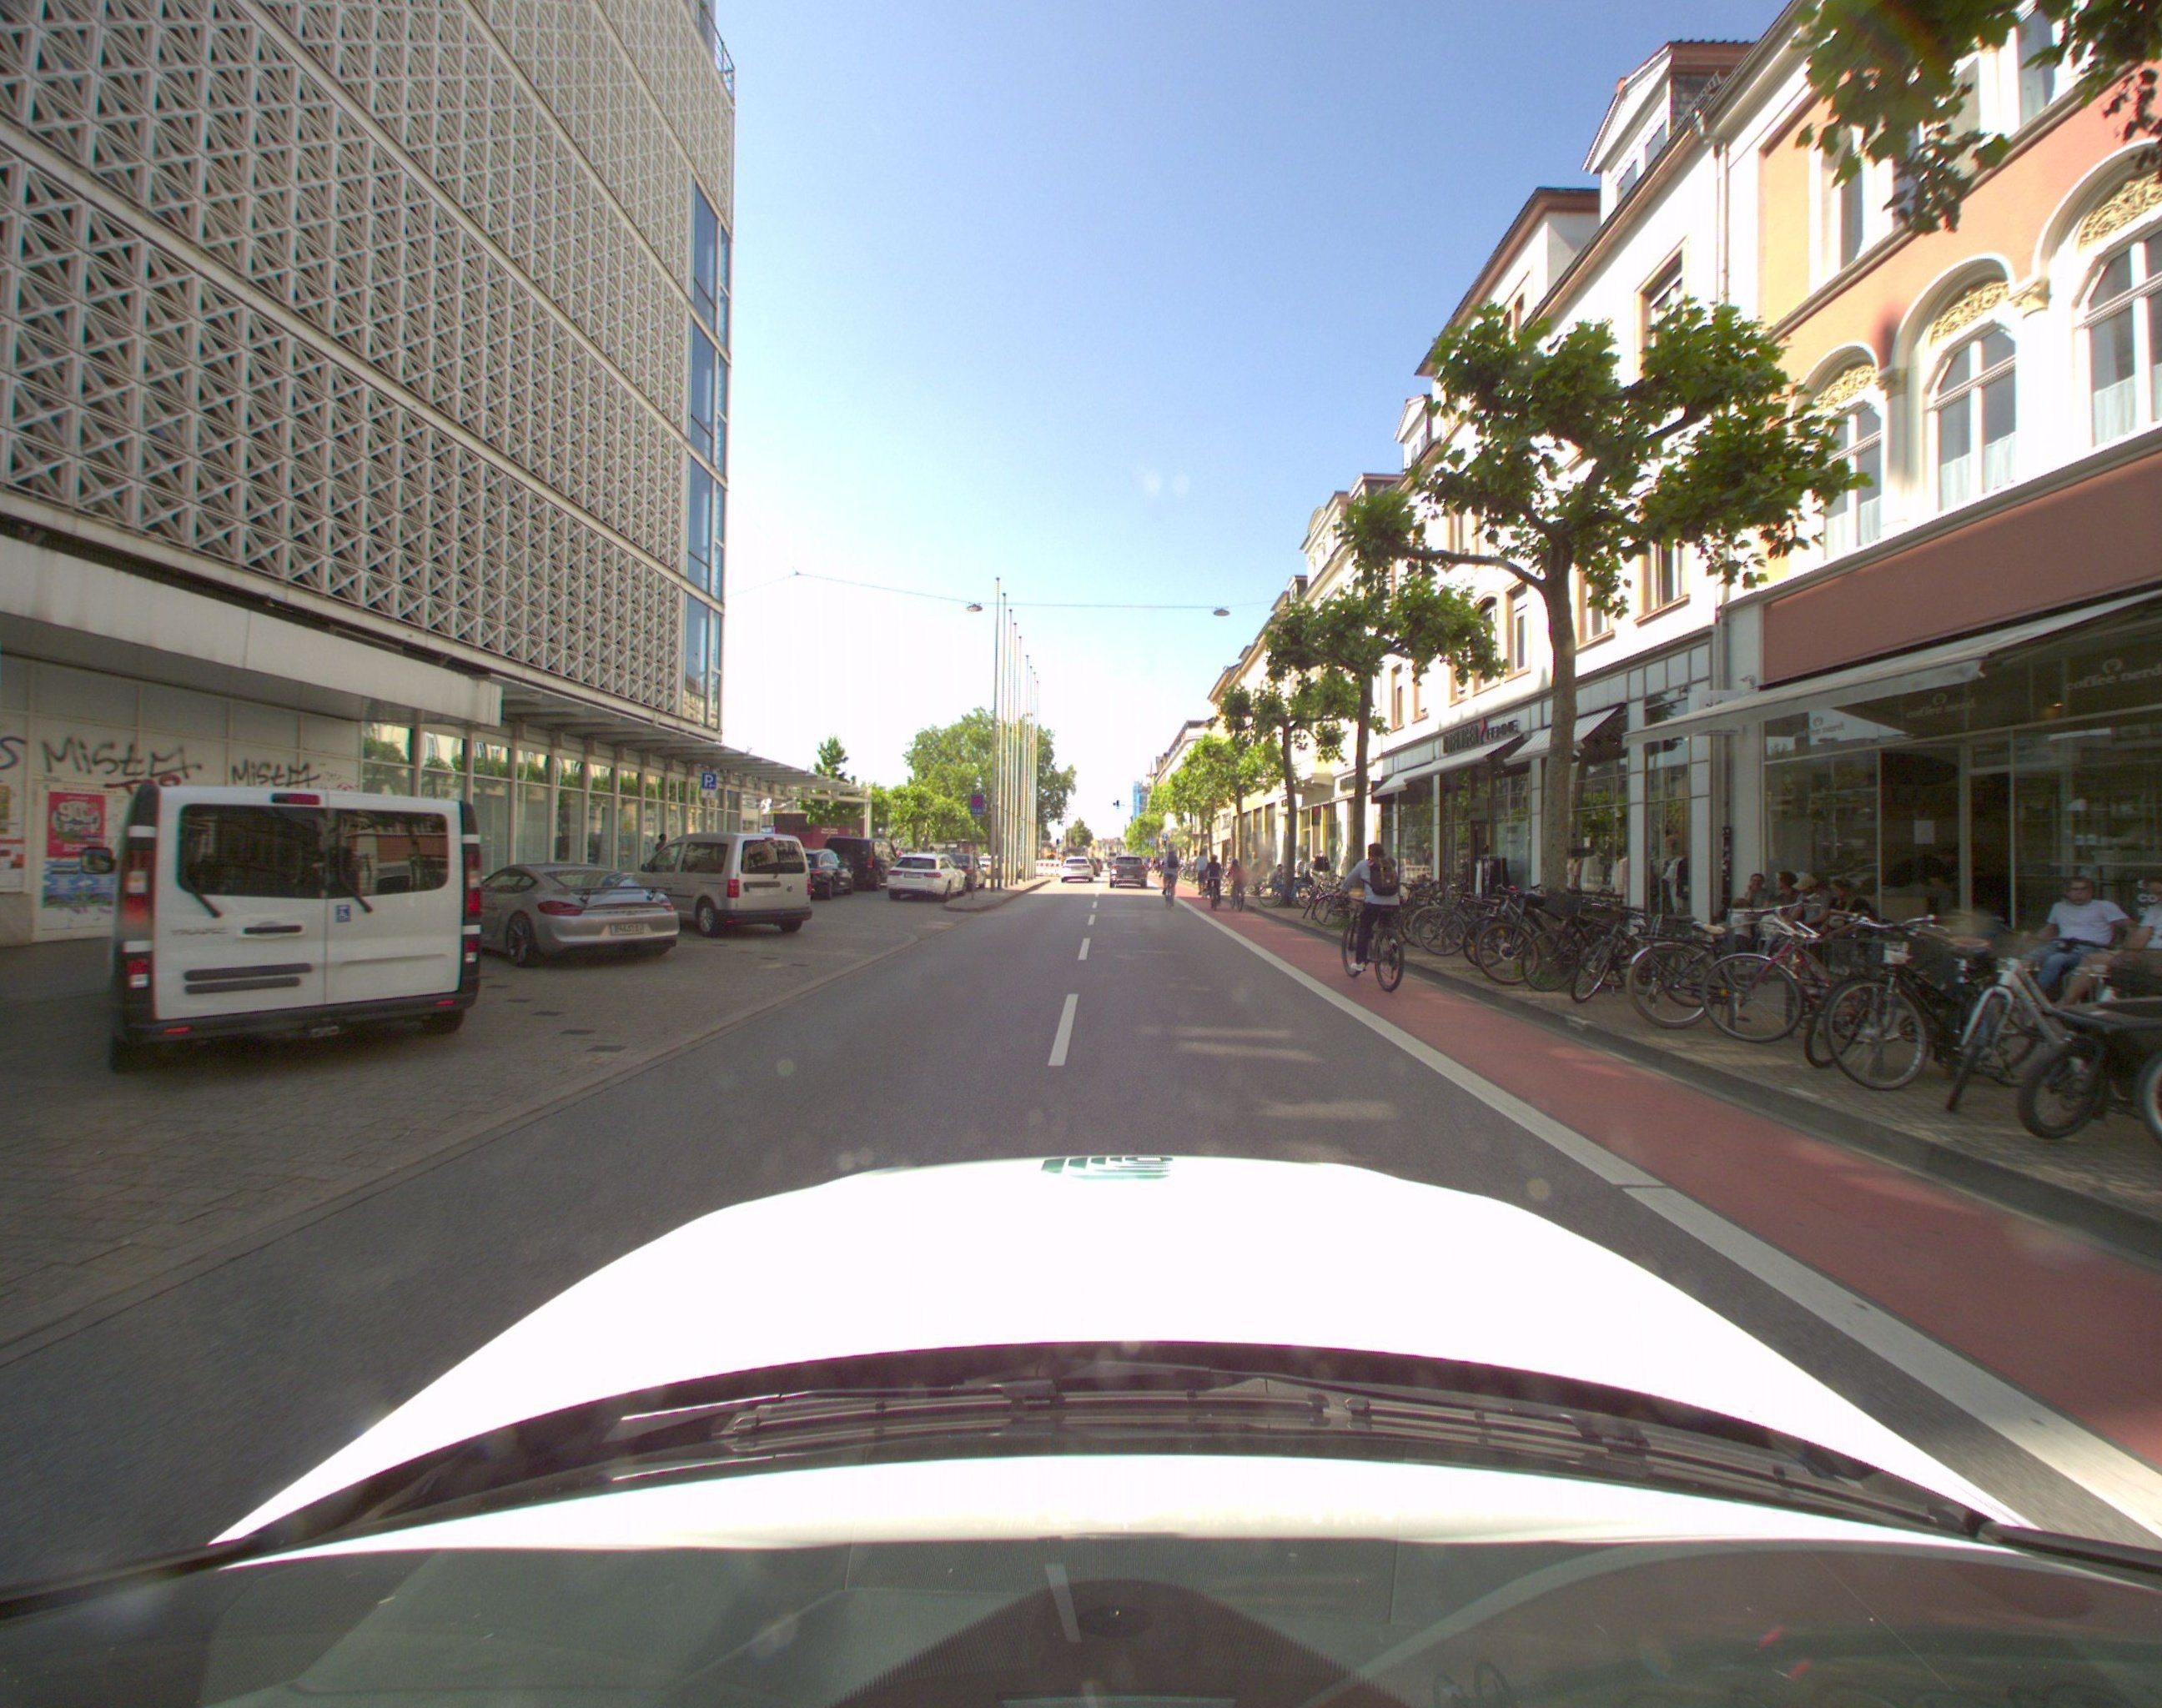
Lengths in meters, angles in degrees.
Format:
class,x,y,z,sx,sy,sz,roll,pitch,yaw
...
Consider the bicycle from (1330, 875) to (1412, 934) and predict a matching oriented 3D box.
class,x,y,z,sx,sy,sz,roll,pitch,yaw
bicycle,5.858,0.996,16.423,1.853,1.127,0.587,1,-2,-35

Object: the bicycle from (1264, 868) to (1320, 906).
class,x,y,z,sx,sy,sz,roll,pitch,yaw
bicycle,6.770,1.057,26.097,1.784,1.197,0.573,2,-1,-26

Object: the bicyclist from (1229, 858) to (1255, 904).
class,x,y,z,sx,sy,sz,roll,pitch,yaw
bicyclist,4.760,0.799,24.128,0.598,1.358,0.720,1,-2,-2

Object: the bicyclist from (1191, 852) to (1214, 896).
class,x,y,z,sx,sy,sz,roll,pitch,yaw
bicyclist,4.562,0.746,30.661,0.771,1.635,0.851,0,0,2

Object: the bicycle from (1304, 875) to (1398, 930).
class,x,y,z,sx,sy,sz,roll,pitch,yaw
bicycle,5.877,1.047,17.778,1.833,1.093,0.565,2,-1,1

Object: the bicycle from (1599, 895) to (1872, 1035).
class,x,y,z,sx,sy,sz,roll,pitch,yaw
bicycle,5.675,0.942,7.144,1.832,1.127,0.644,0,-1,3

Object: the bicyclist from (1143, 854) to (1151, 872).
class,x,y,z,sx,sy,sz,roll,pitch,yaw
bicyclist,5.661,0.762,70.101,0.645,1.551,0.818,1,-1,1

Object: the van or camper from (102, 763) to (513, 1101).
class,x,y,z,sx,sy,sz,roll,pitch,yaw
van or camper,-6.869,0.412,7.112,4.602,2.013,2.012,2,0,41

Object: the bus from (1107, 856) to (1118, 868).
class,x,y,z,sx,sy,sz,roll,pitch,yaw
bus,9.321,2.500,244.683,2.984,3.594,11.746,1,-1,1

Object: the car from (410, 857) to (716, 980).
class,x,y,z,sx,sy,sz,roll,pitch,yaw
car,-7.359,0.777,11.473,4.244,1.286,1.983,2,0,33

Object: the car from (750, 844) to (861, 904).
class,x,y,z,sx,sy,sz,roll,pitch,yaw
car,-8.192,0.578,24.706,1.989,1.610,4.396,2,-1,-3

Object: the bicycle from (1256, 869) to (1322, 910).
class,x,y,z,sx,sy,sz,roll,pitch,yaw
bicycle,6.238,1.054,24.442,1.838,1.127,0.496,3,0,-7

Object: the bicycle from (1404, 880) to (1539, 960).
class,x,y,z,sx,sy,sz,roll,pitch,yaw
bicycle,6.115,1.010,12.825,1.827,1.127,0.532,2,-1,14

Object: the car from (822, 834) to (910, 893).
class,x,y,z,sx,sy,sz,roll,pitch,yaw
car,-7.884,0.337,30.328,1.825,2.014,4.687,1,0,2

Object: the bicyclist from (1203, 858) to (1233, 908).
class,x,y,z,sx,sy,sz,roll,pitch,yaw
bicyclist,4.043,0.844,24.114,0.696,1.441,0.790,2,-1,-2

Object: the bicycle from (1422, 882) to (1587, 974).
class,x,y,z,sx,sy,sz,roll,pitch,yaw
bicycle,5.605,0.965,10.847,1.832,1.127,0.680,1,-1,3

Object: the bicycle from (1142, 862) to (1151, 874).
class,x,y,z,sx,sy,sz,roll,pitch,yaw
bicycle,5.654,1.204,70.148,0.645,0.998,2.031,0,0,2

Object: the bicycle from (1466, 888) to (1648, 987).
class,x,y,z,sx,sy,sz,roll,pitch,yaw
bicycle,5.629,0.976,9.700,1.832,1.127,0.530,0,-2,3

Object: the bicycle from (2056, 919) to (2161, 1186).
class,x,y,z,sx,sy,sz,roll,pitch,yaw
bicycle,5.536,0.914,3.488,1.826,1.127,0.347,2,1,16

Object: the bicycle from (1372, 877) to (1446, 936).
class,x,y,z,sx,sy,sz,roll,pitch,yaw
bicycle,6.601,1.026,16.356,1.854,1.127,0.443,1,-2,-36

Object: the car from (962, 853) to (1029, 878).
class,x,y,z,sx,sy,sz,roll,pitch,yaw
car,-5.487,0.709,53.170,1.873,1.542,4.891,1,0,29

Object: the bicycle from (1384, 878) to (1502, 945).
class,x,y,z,sx,sy,sz,roll,pitch,yaw
bicycle,6.237,0.984,14.084,1.831,1.127,0.448,0,-2,4

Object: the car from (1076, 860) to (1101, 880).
class,x,y,z,sx,sy,sz,roll,pitch,yaw
car,0.571,1.178,61.979,1.839,1.449,4.001,0,0,1

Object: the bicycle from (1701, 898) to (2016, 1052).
class,x,y,z,sx,sy,sz,roll,pitch,yaw
bicycle,6.156,0.931,6.529,1.832,1.127,0.667,0,-1,3

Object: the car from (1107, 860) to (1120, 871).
class,x,y,z,sx,sy,sz,roll,pitch,yaw
car,4.994,1.737,126.304,1.839,1.668,4.000,2,0,1

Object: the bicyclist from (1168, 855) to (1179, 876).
class,x,y,z,sx,sy,sz,roll,pitch,yaw
bicyclist,8.259,1.034,72.837,0.577,1.797,0.848,-1,-1,-33

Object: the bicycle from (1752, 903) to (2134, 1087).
class,x,y,z,sx,sy,sz,roll,pitch,yaw
bicycle,5.801,0.918,5.565,1.832,1.127,0.667,0,-1,3

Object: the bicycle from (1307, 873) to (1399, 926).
class,x,y,z,sx,sy,sz,roll,pitch,yaw
bicycle,6.254,1.033,18.743,1.841,1.127,0.762,3,-2,-12

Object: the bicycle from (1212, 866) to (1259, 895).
class,x,y,z,sx,sy,sz,roll,pitch,yaw
bicycle,6.364,1.085,33.536,1.827,1.127,0.499,2,-1,12

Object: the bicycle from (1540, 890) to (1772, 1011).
class,x,y,z,sx,sy,sz,roll,pitch,yaw
bicycle,5.729,0.942,8.191,1.832,1.127,0.667,0,-1,3

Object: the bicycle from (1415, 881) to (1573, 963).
class,x,y,z,sx,sy,sz,roll,pitch,yaw
bicycle,6.078,0.980,12.113,1.971,1.127,0.764,0,-2,14

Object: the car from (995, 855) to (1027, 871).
class,x,y,z,sx,sy,sz,roll,pitch,yaw
car,-8.552,1.147,100.121,1.843,1.955,4.786,0,-1,23

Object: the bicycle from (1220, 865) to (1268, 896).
class,x,y,z,sx,sy,sz,roll,pitch,yaw
bicycle,6.495,1.038,32.467,1.829,1.197,0.675,1,-1,8

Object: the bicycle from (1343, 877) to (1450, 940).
class,x,y,z,sx,sy,sz,roll,pitch,yaw
bicycle,5.943,1.000,15.391,1.822,1.127,0.451,-1,-2,29

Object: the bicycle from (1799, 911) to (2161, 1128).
class,x,y,z,sx,sy,sz,roll,pitch,yaw
bicycle,5.501,0.925,4.798,1.829,1.127,0.668,0,-1,8

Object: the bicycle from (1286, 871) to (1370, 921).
class,x,y,z,sx,sy,sz,roll,pitch,yaw
bicycle,6.056,1.021,19.989,1.839,1.127,0.630,3,-1,-9

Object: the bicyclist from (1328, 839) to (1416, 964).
class,x,y,z,sx,sy,sz,roll,pitch,yaw
bicyclist,3.566,0.558,10.053,0.696,1.446,0.960,2,-1,-2

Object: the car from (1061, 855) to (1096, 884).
class,x,y,z,sx,sy,sz,roll,pitch,yaw
car,-0.122,0.858,46.744,1.838,1.560,4.002,0,0,2

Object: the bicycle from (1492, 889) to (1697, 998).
class,x,y,z,sx,sy,sz,roll,pitch,yaw
bicycle,5.629,0.967,9.005,1.832,1.127,0.667,0,-1,3

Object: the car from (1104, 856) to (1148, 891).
class,x,y,z,sx,sy,sz,roll,pitch,yaw
car,2.121,0.903,39.349,1.840,1.559,3.999,0,0,-1

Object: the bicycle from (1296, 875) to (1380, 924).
class,x,y,z,sx,sy,sz,roll,pitch,yaw
bicycle,6.138,1.080,19.487,1.839,1.093,0.563,2,-1,-9

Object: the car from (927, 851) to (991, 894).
class,x,y,z,sx,sy,sz,roll,pitch,yaw
car,-4.806,0.699,32.592,1.755,1.600,4.710,1,0,1

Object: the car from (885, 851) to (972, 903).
class,x,y,z,sx,sy,sz,roll,pitch,yaw
car,-4.886,0.690,26.792,1.792,1.523,4.741,2,0,2

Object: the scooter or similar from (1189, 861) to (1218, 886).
class,x,y,z,sx,sy,sz,roll,pitch,yaw
scooter or similar,6.556,1.049,43.489,1.465,1.274,0.672,2,-1,12

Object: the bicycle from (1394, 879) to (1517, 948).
class,x,y,z,sx,sy,sz,roll,pitch,yaw
bicycle,6.241,0.980,13.625,1.831,1.127,0.448,0,-2,4

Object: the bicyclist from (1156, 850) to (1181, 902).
class,x,y,z,sx,sy,sz,roll,pitch,yaw
bicyclist,2.556,0.642,23.836,0.628,1.481,1.198,1,-1,1

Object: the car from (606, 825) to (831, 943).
class,x,y,z,sx,sy,sz,roll,pitch,yaw
car,-6.893,0.468,15.325,4.389,1.909,2.022,1,0,38
